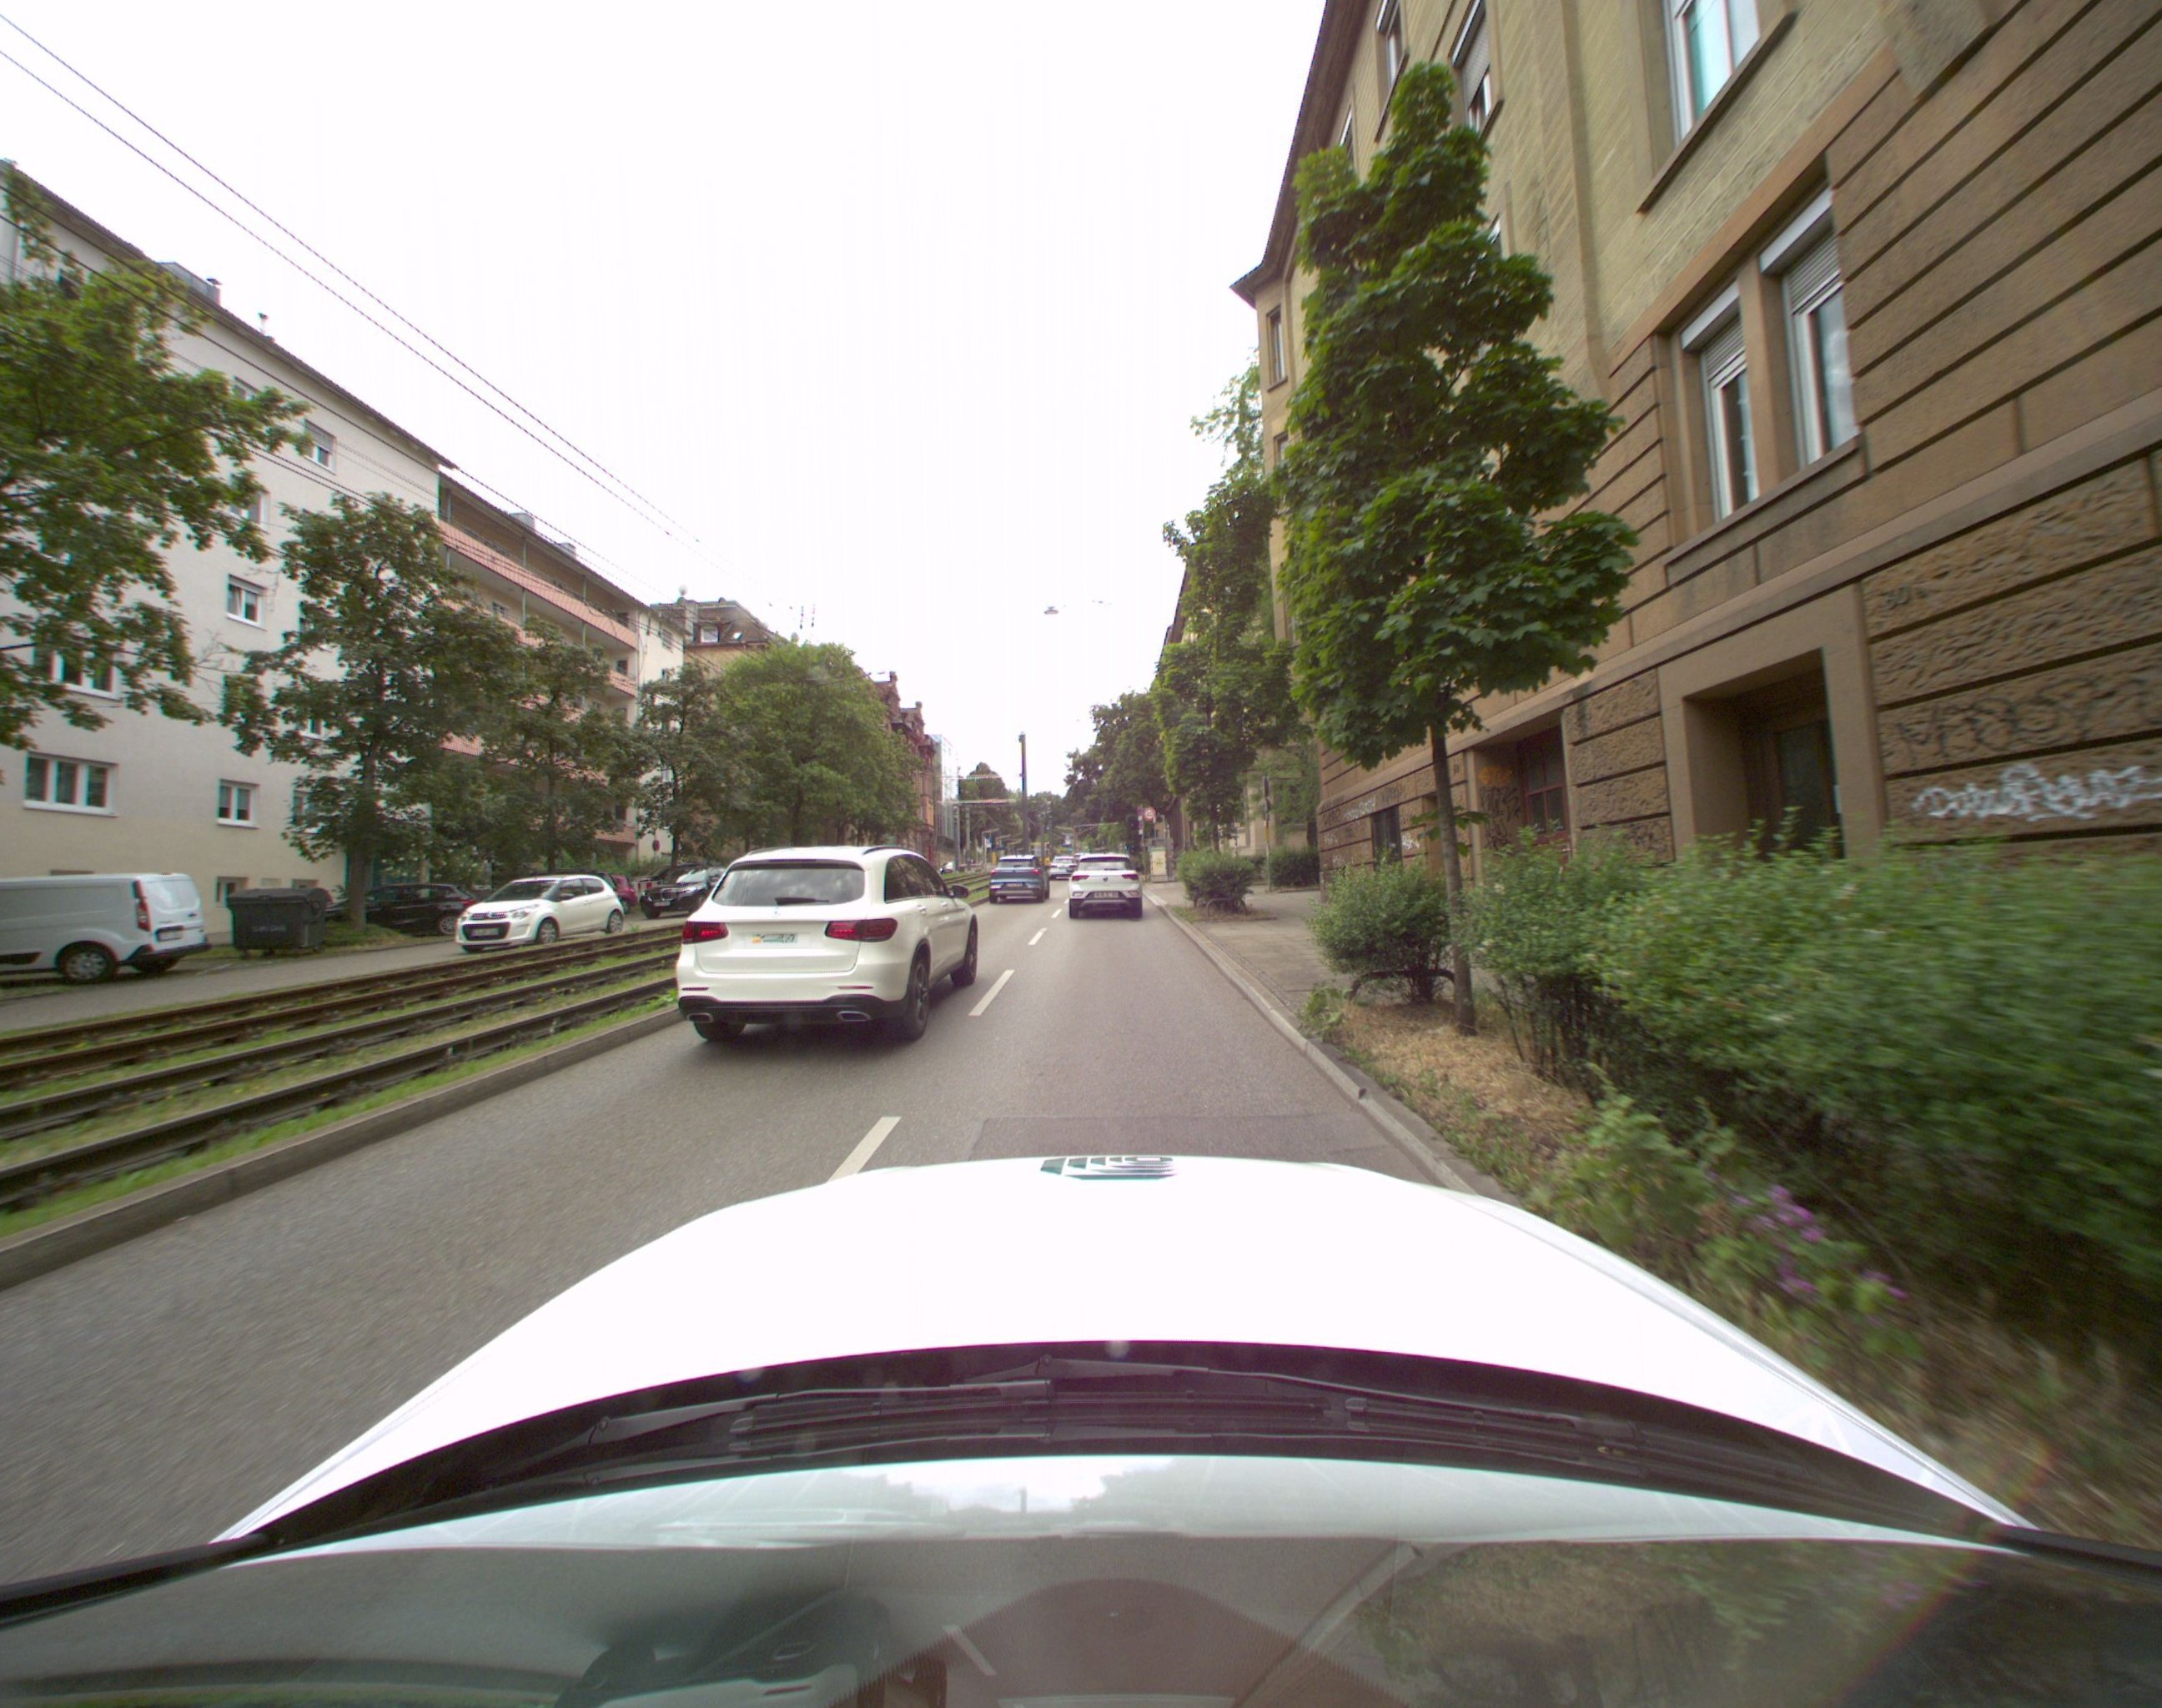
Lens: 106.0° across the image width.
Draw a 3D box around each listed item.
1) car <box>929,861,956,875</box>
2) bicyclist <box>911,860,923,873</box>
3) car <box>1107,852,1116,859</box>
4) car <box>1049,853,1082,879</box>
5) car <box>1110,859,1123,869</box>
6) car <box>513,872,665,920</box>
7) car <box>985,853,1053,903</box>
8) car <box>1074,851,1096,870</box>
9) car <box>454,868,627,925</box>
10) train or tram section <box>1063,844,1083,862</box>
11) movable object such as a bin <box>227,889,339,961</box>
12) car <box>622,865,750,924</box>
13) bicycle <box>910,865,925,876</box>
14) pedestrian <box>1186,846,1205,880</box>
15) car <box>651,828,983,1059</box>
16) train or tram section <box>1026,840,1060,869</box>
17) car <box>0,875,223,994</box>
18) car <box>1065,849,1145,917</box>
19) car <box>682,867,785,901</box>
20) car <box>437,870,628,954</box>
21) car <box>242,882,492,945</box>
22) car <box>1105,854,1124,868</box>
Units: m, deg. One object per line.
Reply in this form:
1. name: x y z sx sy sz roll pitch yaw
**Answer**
1. car: -14.866 1.507 87.666 1.985 1.403 4.003 -2 -1 3
2. bicyclist: -17.844 1.343 88.773 0.935 1.425 1.188 -2 0 1
3. car: 7.043 0.416 187.884 2.060 1.546 4.195 -1 0 2
4. car: -0.921 0.756 51.241 1.828 1.546 4.195 -1 0 2
5. car: 5.846 1.639 133.186 2.060 1.546 4.195 -1 0 2
6. car: -17.888 1.479 29.793 4.623 1.548 1.917 0 -1 -32
7. car: -2.044 0.766 27.821 1.828 1.546 4.195 -1 0 2
8. car: 0.391 0.565 72.094 1.828 1.546 4.195 -1 0 2
9. car: -17.783 1.339 27.063 4.623 1.682 1.917 0 -1 -32
10. train or tram section: -1.551 -0.114 163.977 2.984 3.349 13.447 -2 0 3
11. movable object such as a bin: -16.703 1.460 17.096 1.276 1.401 1.091 -1 -1 -14
12. car: -13.202 1.273 27.571 1.910 1.650 4.608 -4 0 1
13. bicycle: -17.828 1.749 88.727 0.935 1.100 2.704 -2 0 2
14. pedestrian: 5.825 0.457 41.449 0.704 1.662 1.132 -2 0 16
15. car: -2.219 0.670 8.321 1.829 1.667 4.670 -1 0 0
16. train or tram section: -4.787 0.125 106.149 2.984 3.349 13.447 -2 0 3
17. car: -18.093 1.376 13.960 4.199 1.836 1.856 -2 0 -26
18. car: 0.597 0.689 20.902 1.829 1.546 4.194 -1 0 1
19. car: -17.790 1.493 41.712 4.624 1.617 1.916 0 -1 -33
20. car: -11.390 1.139 17.202 1.582 1.435 3.413 -4 0 1
21. car: -18.242 1.465 21.166 4.623 1.344 1.917 0 -1 -32
22. car: 3.792 0.835 92.564 2.060 1.546 4.195 -1 0 2
